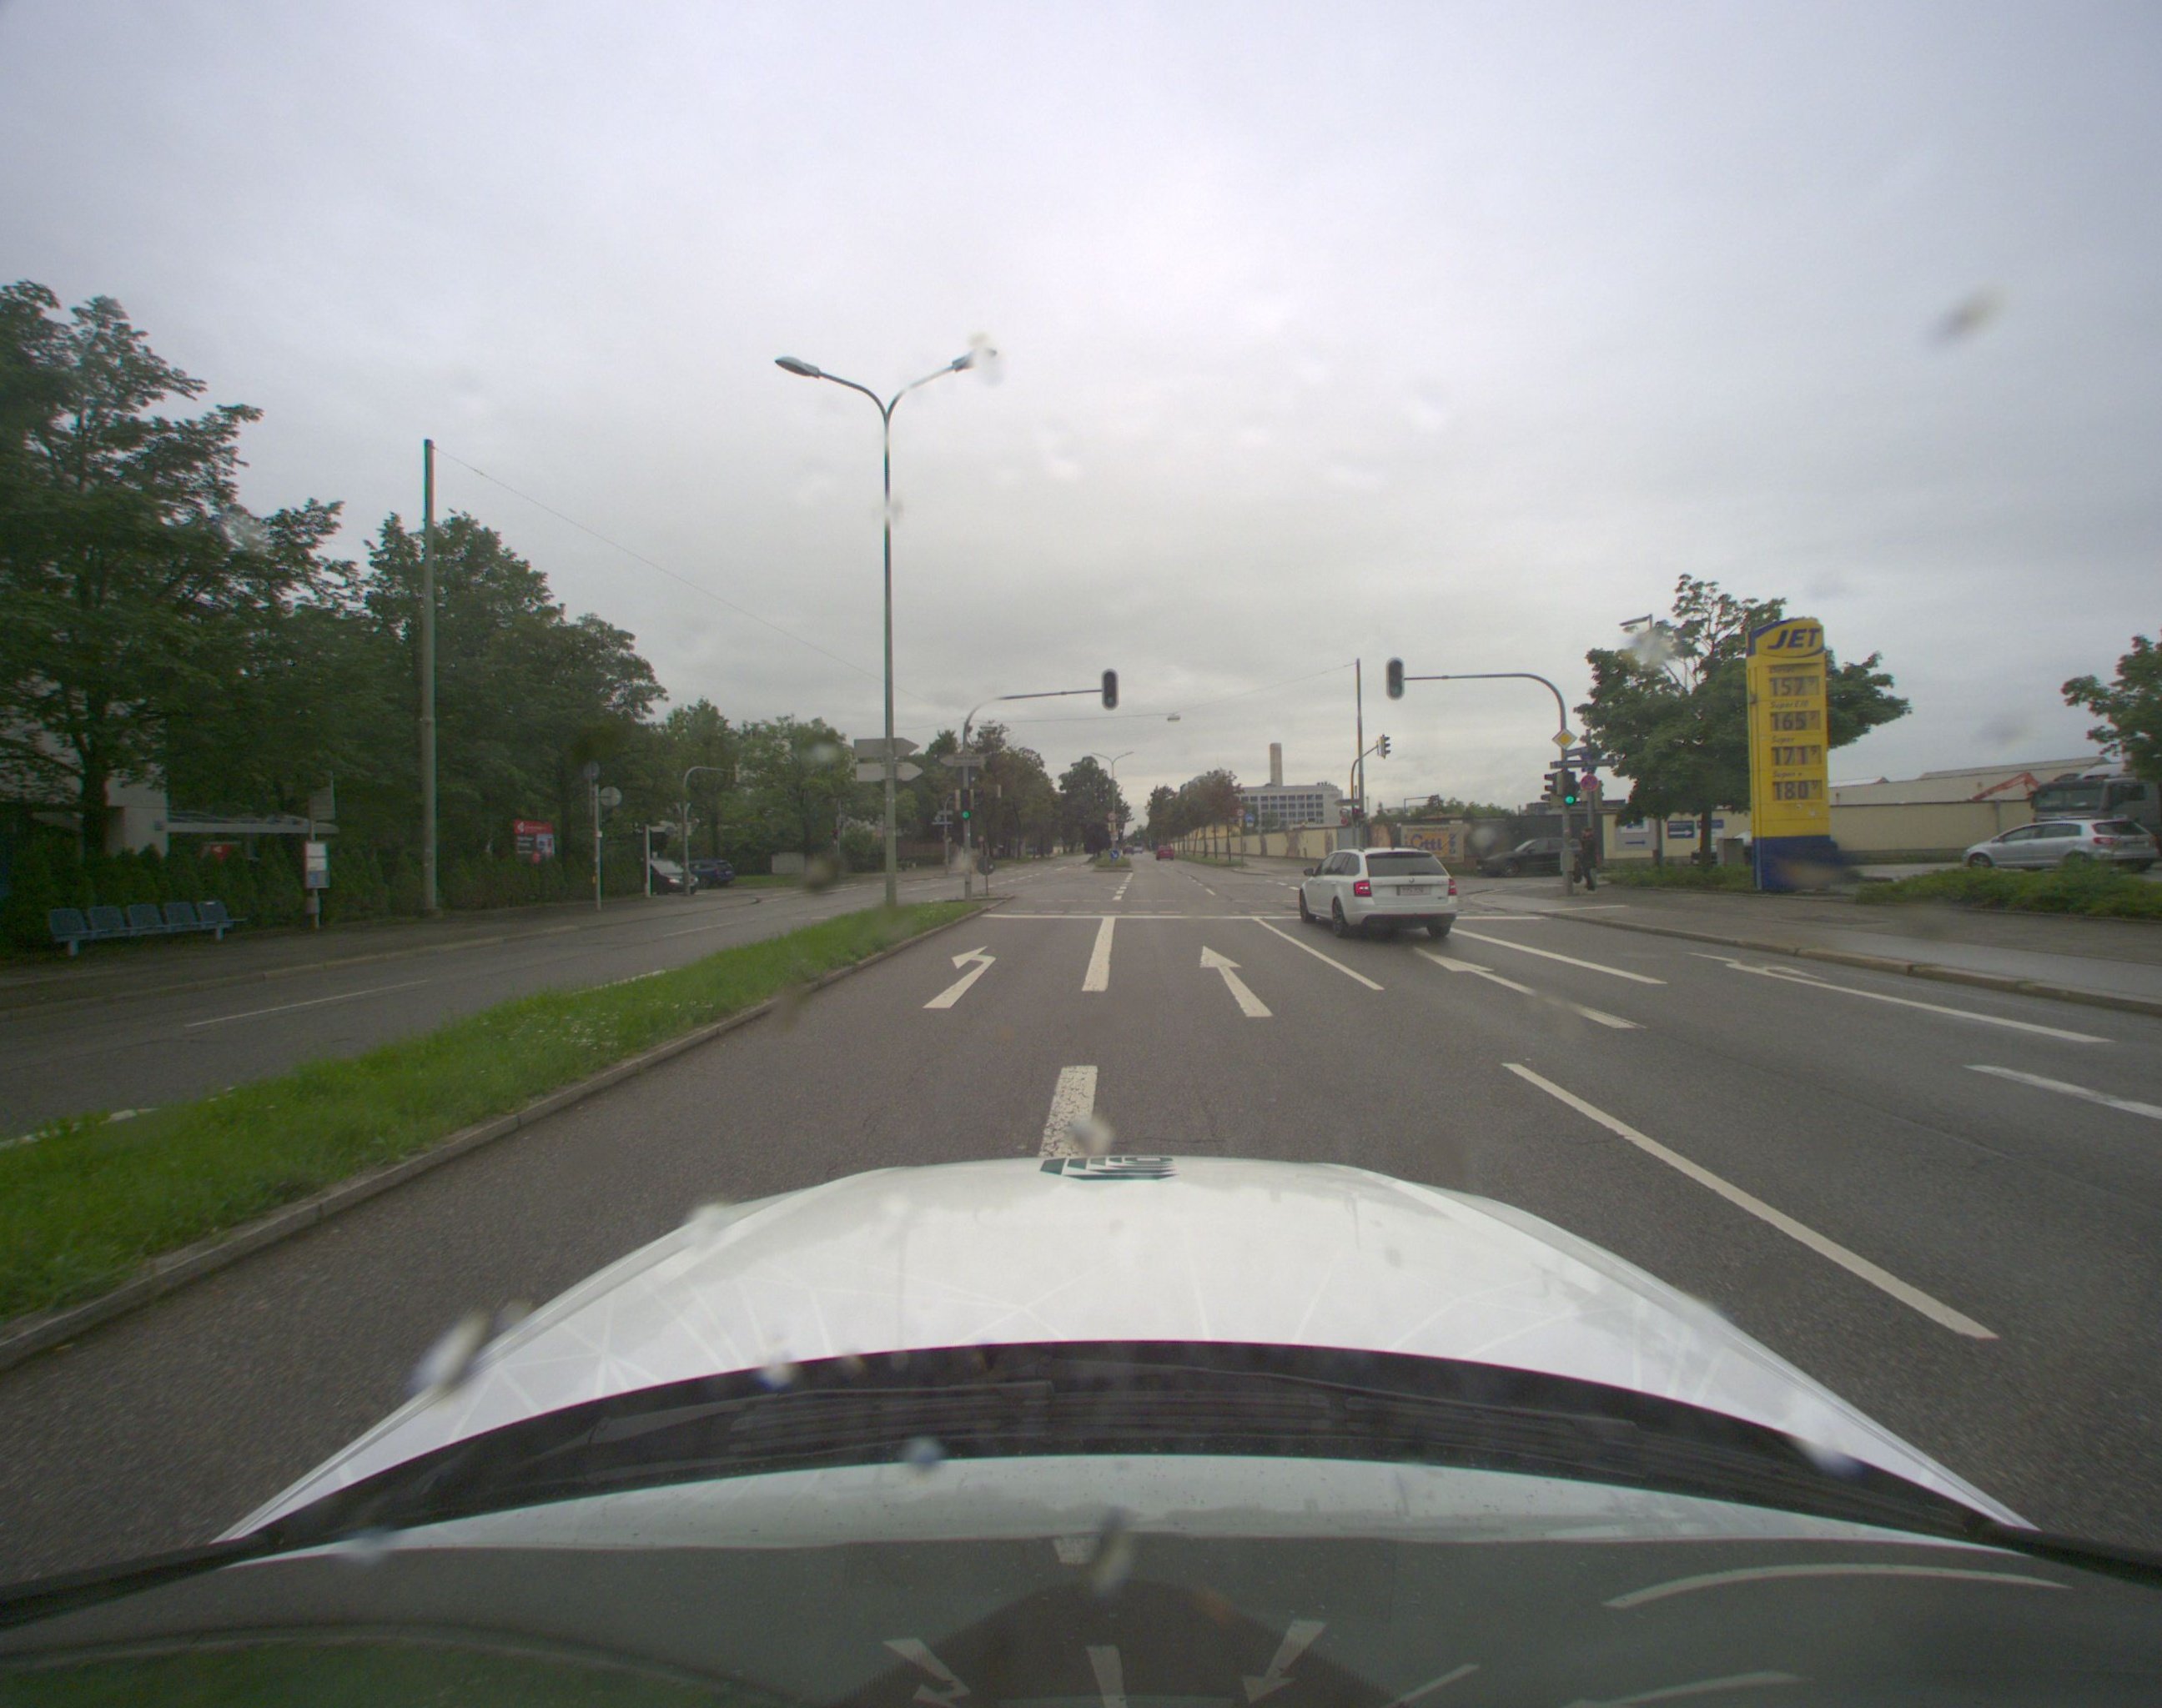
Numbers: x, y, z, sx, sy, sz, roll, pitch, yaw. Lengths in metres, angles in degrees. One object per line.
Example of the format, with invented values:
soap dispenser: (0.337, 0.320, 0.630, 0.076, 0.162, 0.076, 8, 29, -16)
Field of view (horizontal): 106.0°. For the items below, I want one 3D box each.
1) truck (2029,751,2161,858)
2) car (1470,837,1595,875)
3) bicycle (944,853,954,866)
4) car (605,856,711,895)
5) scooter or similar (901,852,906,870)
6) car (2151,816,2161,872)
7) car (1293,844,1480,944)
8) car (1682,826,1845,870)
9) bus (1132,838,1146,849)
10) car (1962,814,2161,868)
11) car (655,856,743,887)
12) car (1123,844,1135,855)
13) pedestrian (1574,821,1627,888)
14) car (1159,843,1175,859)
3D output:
truck: (43.971, -2.000, 30.948, 11.840, 3.855, 2.614, -2, 0, 5)
car: (19.198, 0.095, 34.779, 4.230, 1.428, 2.003, -2, 0, 5)
bicycle: (-13.568, 0.551, 83.921, 0.580, 1.295, 2.454, 0, 0, 1)
car: (-20.477, 1.032, 39.417, 4.731, 1.723, 2.012, -2, -1, 25)
scooter or similar: (-14.042, 0.563, 64.585, 0.370, 1.424, 1.399, 0, 0, -12)
car: (28.200, -0.247, 18.582, 1.697, 1.384, 4.353, 0, 0, -7)
car: (5.113, 0.583, 14.324, 1.869, 1.467, 4.507, 0, 0, 4)
car: (26.710, -0.229, 32.011, 4.595, 1.532, 2.003, -2, 0, 5)
bus: (15.640, -2.802, 220.261, 3.209, 3.126, 10.349, 0, 0, 2)
car: (29.220, -0.369, 24.303, 1.617, 1.486, 3.979, 0, 0, 1)
car: (-22.490, 1.040, 47.990, 4.241, 1.574, 2.007, -2, 2, 11)
car: (8.688, -0.866, 148.465, 2.076, 1.866, 4.388, 0, 0, 2)
pedestrian: (13.136, 0.013, 20.609, 0.799, 1.615, 0.688, -4, 0, 2)
car: (9.497, -0.295, 90.390, 1.478, 1.715, 3.552, 0, 0, 2)
